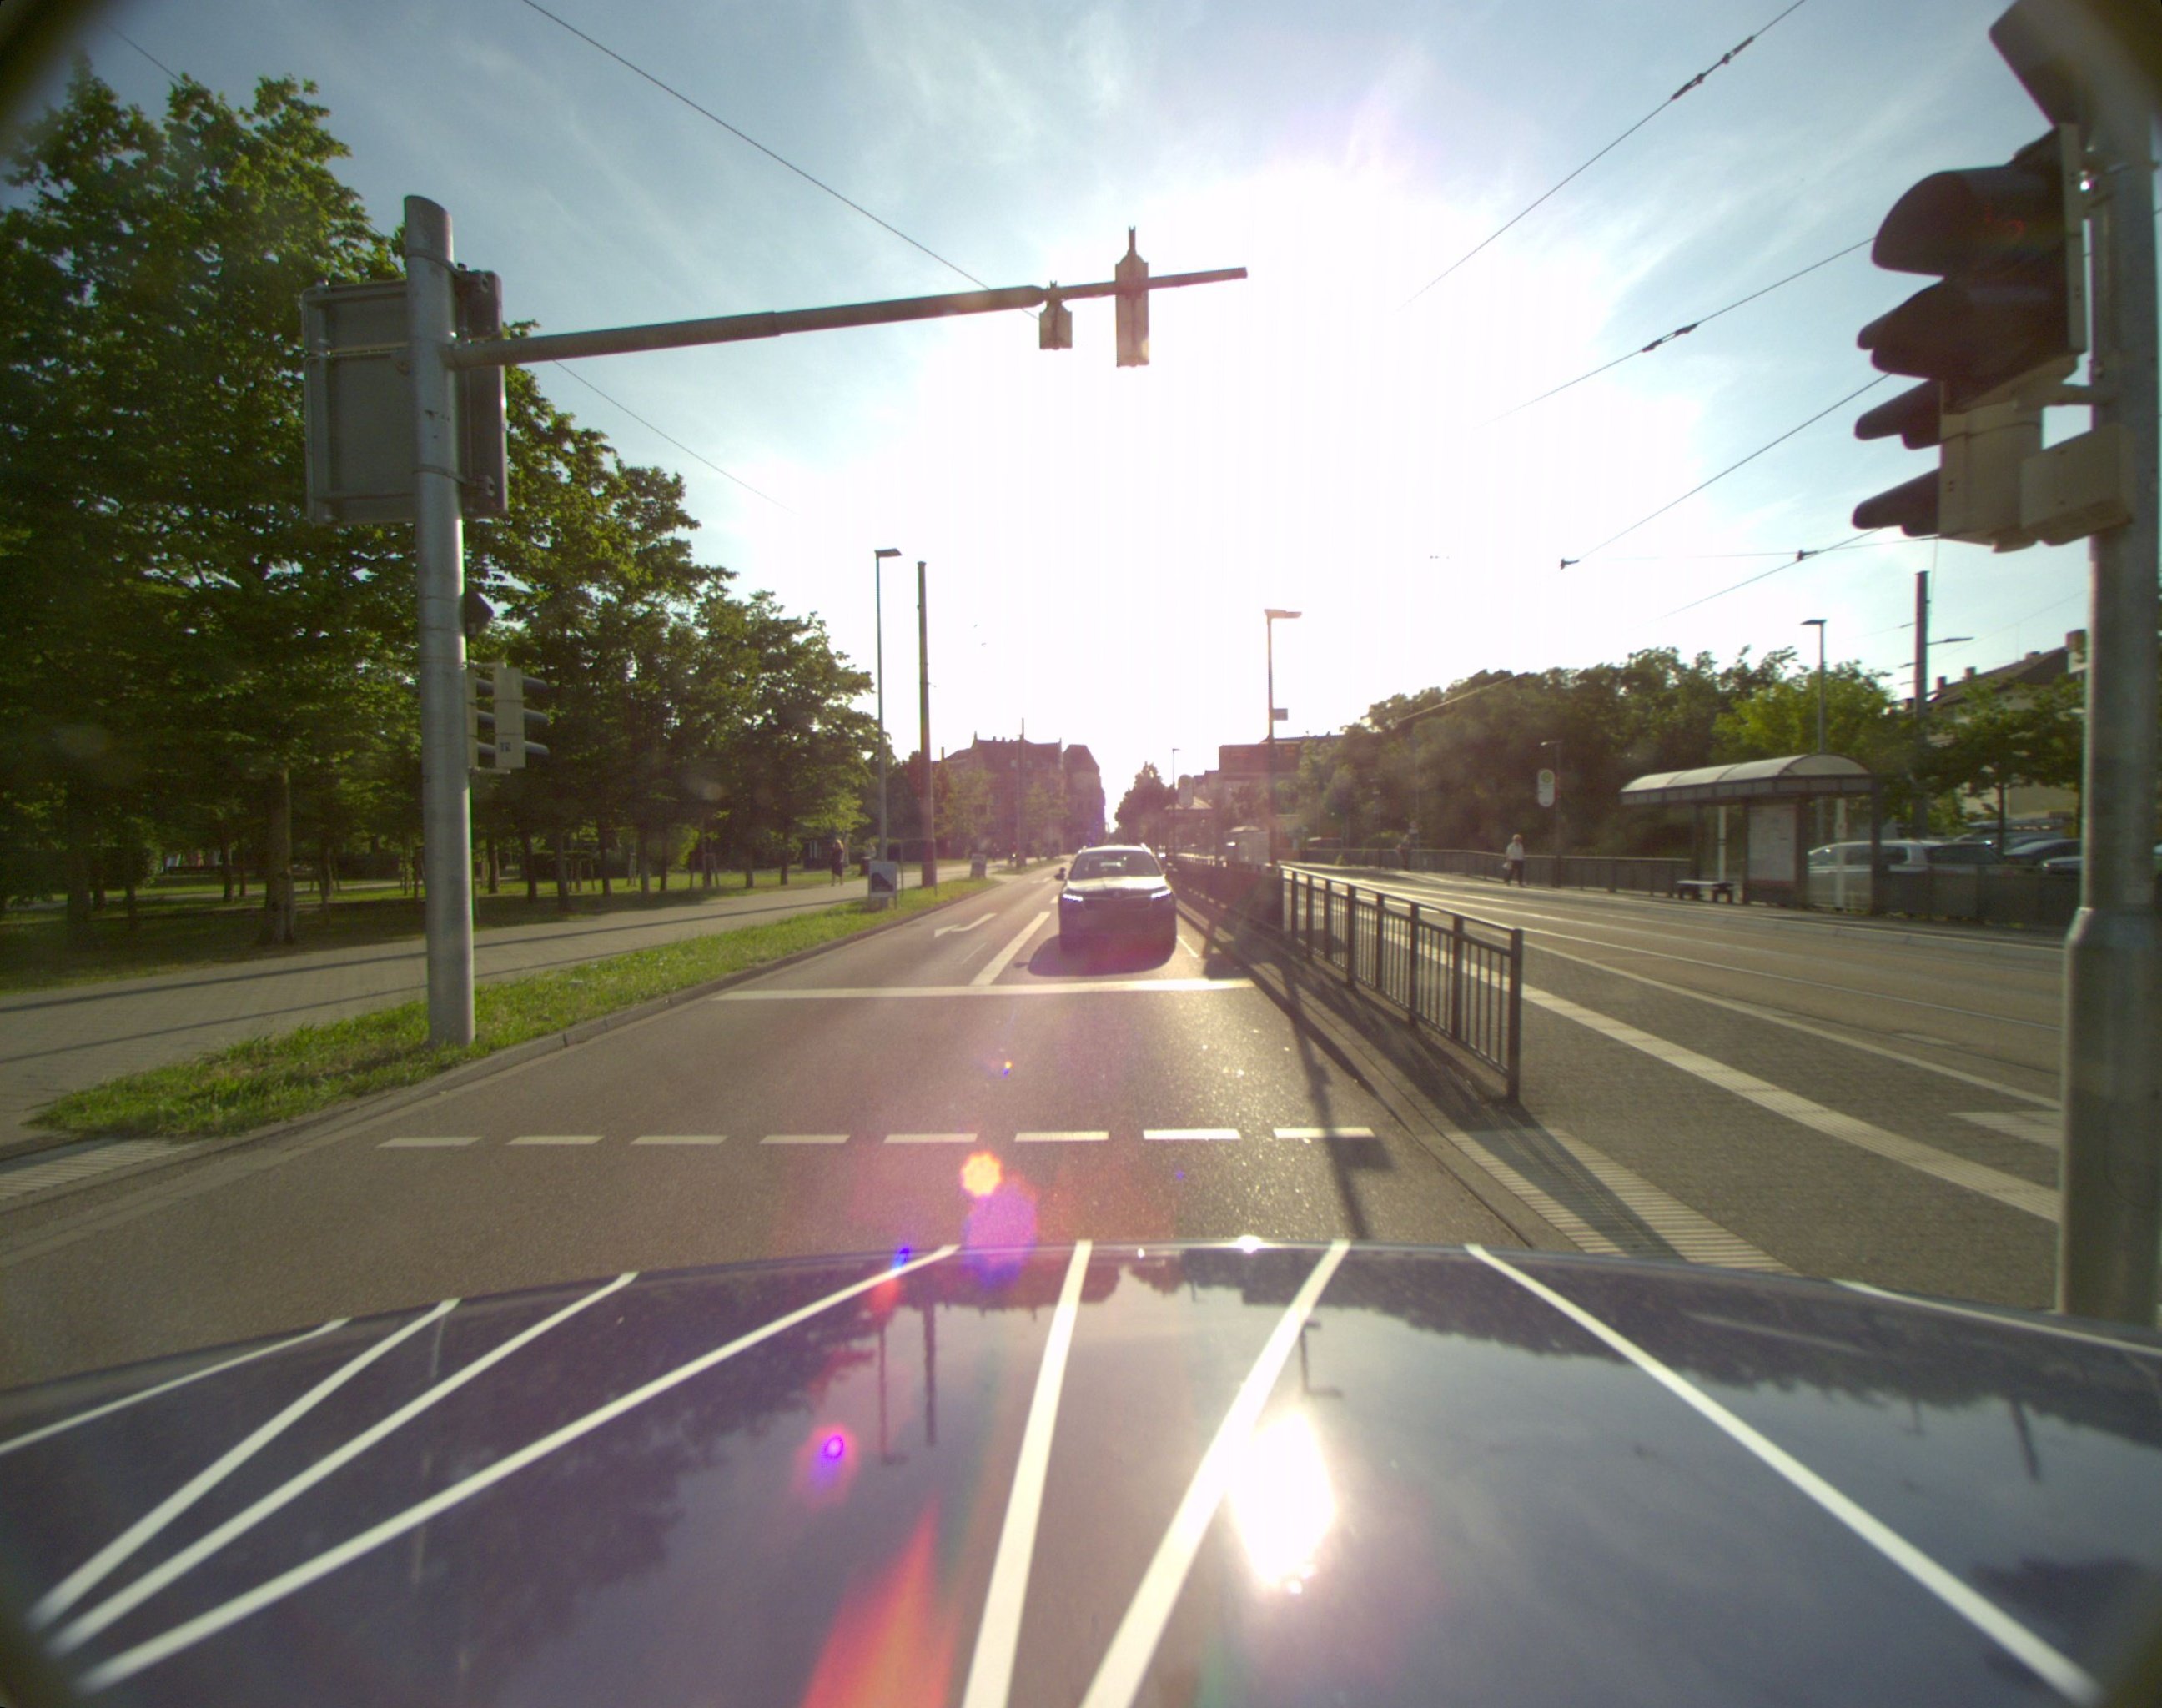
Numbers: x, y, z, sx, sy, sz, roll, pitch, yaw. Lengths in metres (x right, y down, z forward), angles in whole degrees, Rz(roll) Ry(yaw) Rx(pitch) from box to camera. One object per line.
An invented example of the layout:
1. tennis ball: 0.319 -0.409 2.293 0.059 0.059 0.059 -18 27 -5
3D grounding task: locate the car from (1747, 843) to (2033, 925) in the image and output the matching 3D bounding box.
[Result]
1. car: 16.860 0.567 16.200 1.681 1.517 4.124 0 0 -1

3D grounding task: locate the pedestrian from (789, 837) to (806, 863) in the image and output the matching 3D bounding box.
1. pedestrian: -23.226 -0.333 62.336 0.910 2.145 0.891 0 1 14

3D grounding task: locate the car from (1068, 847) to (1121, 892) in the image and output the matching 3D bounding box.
1. car: 0.528 0.500 27.487 1.781 1.496 4.000 0 1 2

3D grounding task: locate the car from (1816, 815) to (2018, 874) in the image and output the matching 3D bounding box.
1. car: 41.160 -0.426 37.645 6.586 2.793 1.775 -1 1 23

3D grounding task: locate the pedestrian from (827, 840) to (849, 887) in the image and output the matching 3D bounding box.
1. pedestrian: -8.981 0.340 28.129 0.558 1.691 0.662 0 1 1

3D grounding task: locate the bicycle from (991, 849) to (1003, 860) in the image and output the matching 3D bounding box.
1. bicycle: -7.377 0.055 66.663 0.740 0.912 2.094 0 1 1

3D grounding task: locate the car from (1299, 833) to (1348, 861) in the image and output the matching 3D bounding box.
1. car: 18.092 -0.540 56.957 2.150 2.002 5.387 0 1 2

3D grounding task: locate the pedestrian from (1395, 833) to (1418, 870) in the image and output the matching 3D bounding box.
1. pedestrian: 14.556 -0.109 33.979 0.736 1.619 0.689 0 1 2

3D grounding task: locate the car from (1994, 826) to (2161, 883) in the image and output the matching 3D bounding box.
1. car: 32.435 -0.001 24.130 3.991 1.744 1.857 0 1 21

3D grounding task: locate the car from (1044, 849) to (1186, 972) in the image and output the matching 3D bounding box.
1. car: 0.509 0.727 11.899 1.781 1.496 4.000 -2 1 2

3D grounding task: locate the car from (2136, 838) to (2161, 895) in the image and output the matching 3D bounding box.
1. car: 28.761 0.325 18.039 3.990 1.420 1.775 0 1 23

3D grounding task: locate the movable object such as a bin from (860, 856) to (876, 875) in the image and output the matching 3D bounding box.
1. movable object such as a bin: -10.204 0.564 36.415 0.502 0.899 0.526 1 2 40

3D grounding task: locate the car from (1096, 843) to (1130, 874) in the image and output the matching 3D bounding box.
1. car: 1.647 0.192 39.614 1.672 1.496 3.871 0 1 2

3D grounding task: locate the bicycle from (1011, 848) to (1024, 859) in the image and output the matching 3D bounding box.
1. bicycle: -5.571 -0.065 66.724 0.740 0.912 2.095 0 1 6

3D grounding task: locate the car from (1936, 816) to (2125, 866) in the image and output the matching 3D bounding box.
1. car: 35.113 -0.473 28.249 3.991 1.744 1.857 0 1 21

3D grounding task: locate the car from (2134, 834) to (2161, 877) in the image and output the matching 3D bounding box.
1. car: 45.204 0.075 30.404 1.813 1.789 4.006 0 1 25

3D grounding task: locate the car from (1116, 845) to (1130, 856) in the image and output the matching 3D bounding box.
1. car: 6.885 -0.564 125.520 1.998 1.674 3.999 0 1 0

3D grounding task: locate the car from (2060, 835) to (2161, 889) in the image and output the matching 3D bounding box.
1. car: 29.898 0.199 20.434 3.990 1.420 1.775 0 1 23

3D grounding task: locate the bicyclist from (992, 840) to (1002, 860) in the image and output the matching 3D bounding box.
1. bicyclist: -7.380 -0.369 66.649 0.754 1.763 1.118 0 1 1

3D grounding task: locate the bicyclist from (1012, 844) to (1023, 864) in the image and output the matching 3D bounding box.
1. bicyclist: -5.551 -0.032 66.694 0.730 1.763 1.015 0 2 6

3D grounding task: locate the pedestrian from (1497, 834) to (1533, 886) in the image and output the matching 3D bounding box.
1. pedestrian: 13.593 0.176 23.821 0.708 1.619 0.727 0 1 2

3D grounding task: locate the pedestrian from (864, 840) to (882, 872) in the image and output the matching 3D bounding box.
1. pedestrian: -10.913 0.102 39.829 0.660 1.642 0.623 0 2 30

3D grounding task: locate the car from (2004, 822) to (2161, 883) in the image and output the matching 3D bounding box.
1. car: 30.779 -0.055 22.491 3.991 1.744 1.857 0 1 21
